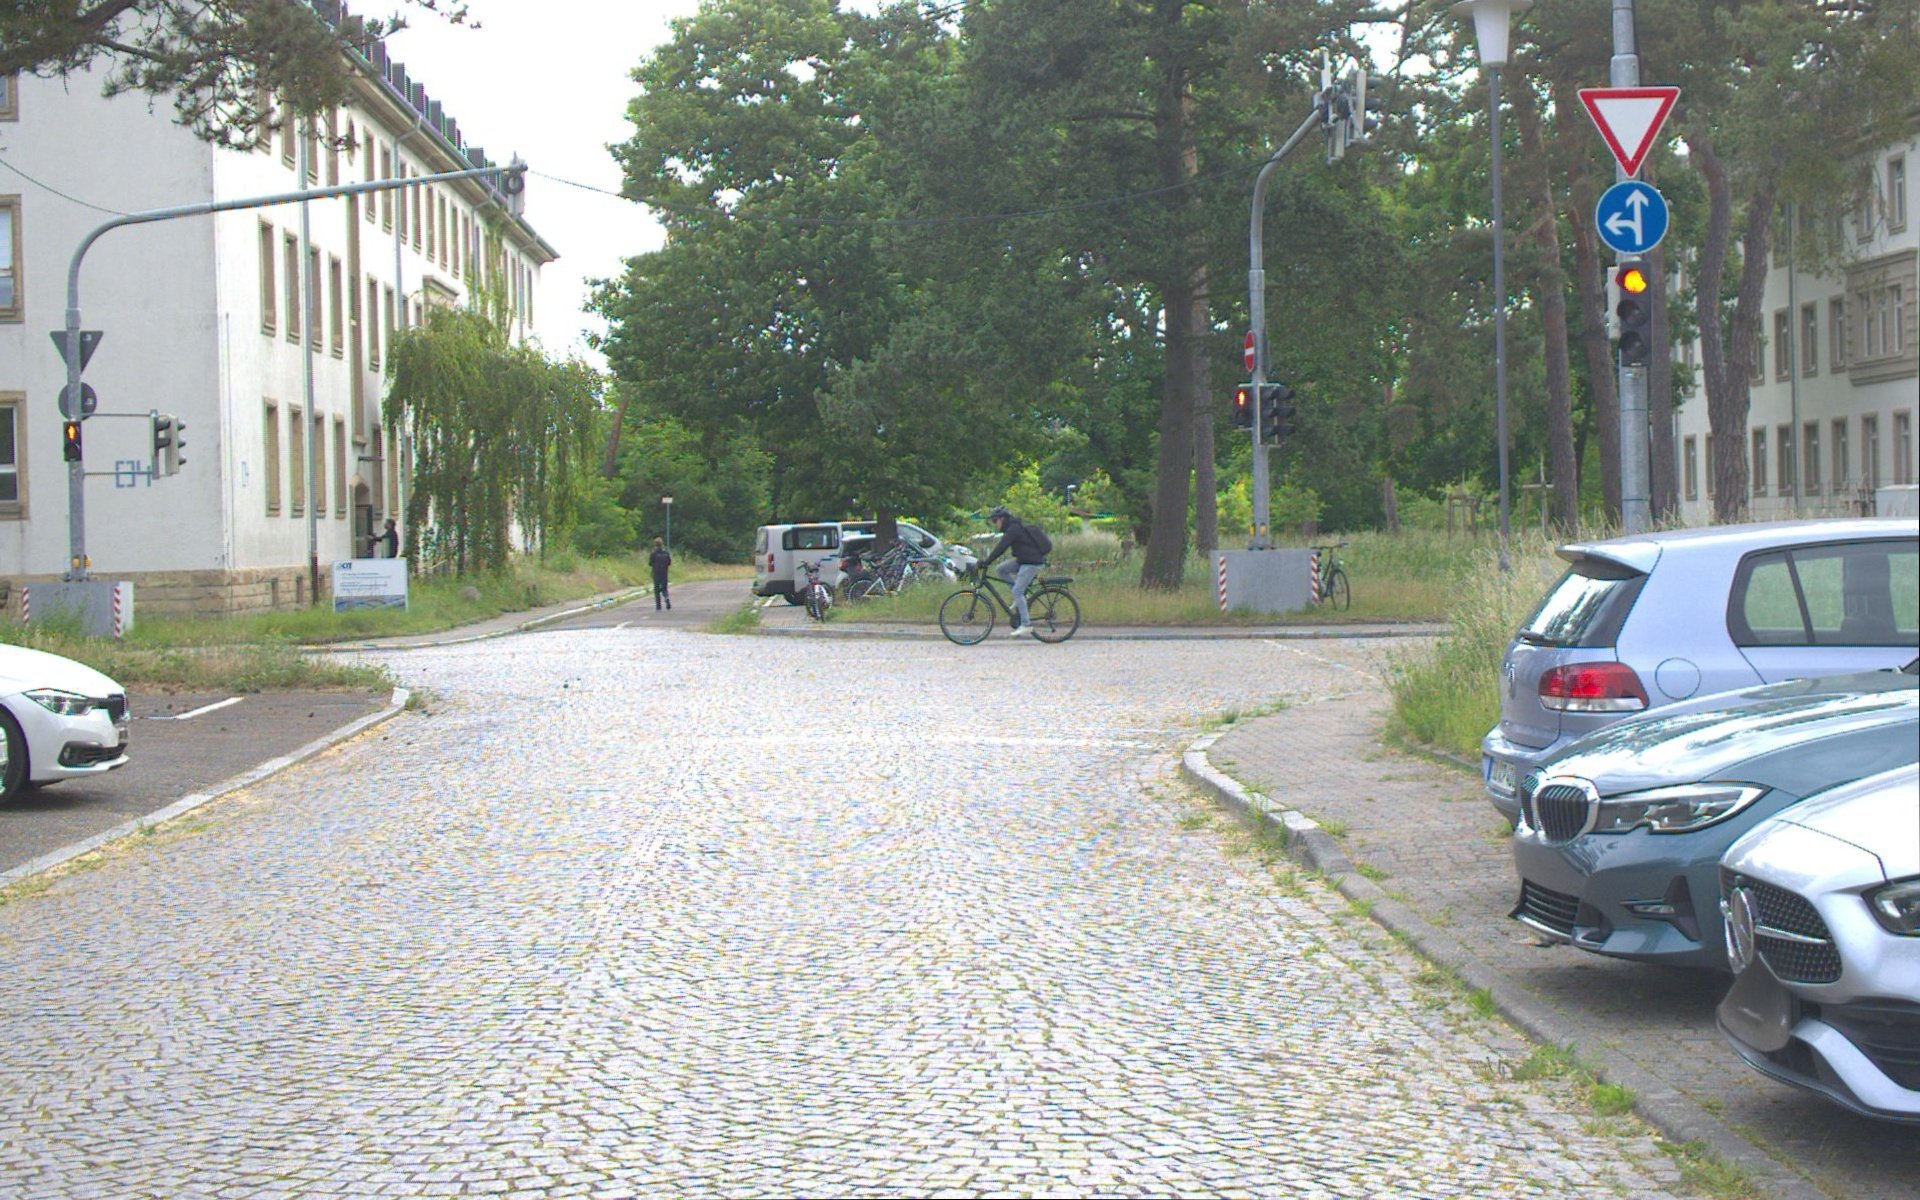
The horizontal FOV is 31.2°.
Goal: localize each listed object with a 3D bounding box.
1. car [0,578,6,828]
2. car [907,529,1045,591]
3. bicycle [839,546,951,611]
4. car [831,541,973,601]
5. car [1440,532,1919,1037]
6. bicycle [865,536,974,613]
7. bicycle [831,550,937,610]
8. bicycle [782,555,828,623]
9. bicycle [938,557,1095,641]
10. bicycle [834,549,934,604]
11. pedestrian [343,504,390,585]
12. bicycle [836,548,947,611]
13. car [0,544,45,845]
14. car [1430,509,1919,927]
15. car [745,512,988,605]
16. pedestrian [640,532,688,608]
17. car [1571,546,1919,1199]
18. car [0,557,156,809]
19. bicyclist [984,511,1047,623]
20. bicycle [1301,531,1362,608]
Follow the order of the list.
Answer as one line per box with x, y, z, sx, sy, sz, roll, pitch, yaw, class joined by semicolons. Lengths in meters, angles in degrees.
-6.303;0.576;15.221;3.745;1.424;1.583;2;1;-5;car
0.389;-0.990;84.441;3.231;1.411;1.725;-1;1;-4;car
-1.179;-0.392;62.428;1.954;1.128;0.588;-1;1;-8;bicycle
-1.322;-0.661;77.137;3.005;1.264;1.536;-1;1;-7;car
4.109;0.451;11.258;4.680;1.411;1.871;-3;1;-4;car
-0.755;-0.484;63.904;1.954;1.379;0.588;-1;1;-8;bicycle
-1.424;-0.381;64.540;1.955;1.066;0.588;-2;1;-31;bicycle
-2.671;-0.206;59.192;0.603;1.128;1.962;-1;1;-8;bicycle
0.707;-0.014;43.787;1.955;1.020;0.605;-1;1;-2;bicycle
-1.533;-0.485;69.574;1.955;1.066;0.588;-2;1;-26;bicycle
-13.429;-1.255;77.827;0.774;1.831;0.741;-2;1;-33;pedestrian
-1.265;-0.380;63.060;1.954;1.113;0.588;-1;1;-8;bicycle
-6.963;0.441;17.987;3.947;1.558;1.650;2;1;-5;car
3.985;0.376;13.705;3.927;1.472;1.642;-3;1;0;car
-2.207;-0.984;80.487;5.359;1.918;2.025;-3;1;-11;car
-6.332;-0.648;73.631;0.738;1.613;0.776;-2;1;-29;pedestrian
3.989;0.507;8.567;4.421;1.411;1.871;-3;1;-11;car
-6.964;0.428;20.525;3.947;1.416;1.650;2;1;-2;car
0.698;-0.424;43.773;0.749;1.405;0.605;-1;1;-2;bicyclist
5.446;-0.455;50.490;0.586;1.102;1.962;-1;1;-2;bicycle
